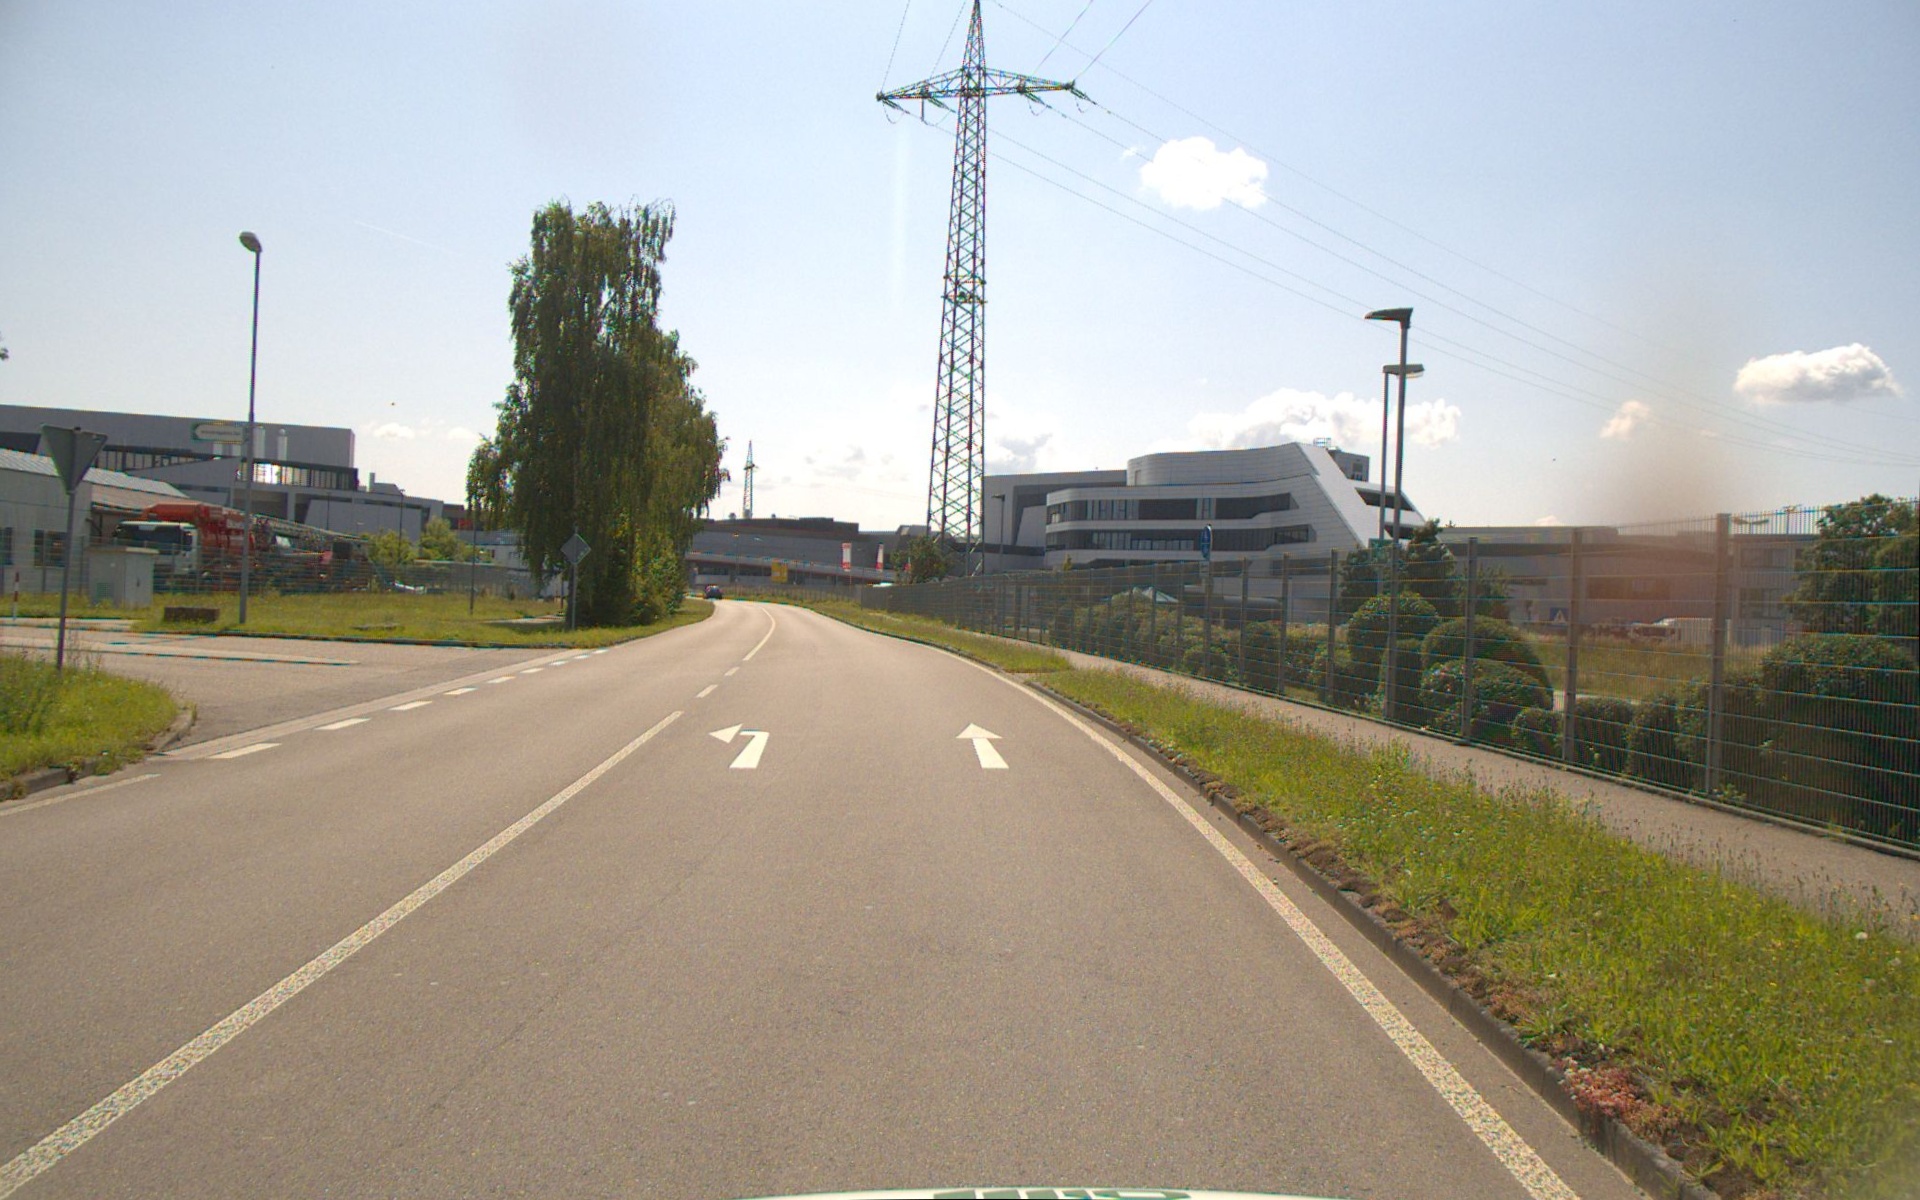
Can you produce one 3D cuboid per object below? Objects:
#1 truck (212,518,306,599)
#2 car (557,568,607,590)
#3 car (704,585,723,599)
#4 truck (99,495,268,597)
[{"bbox_3d":[-32.486,-1.876,76.867,2.388,3.512,5.435,3,0,-6],"label":"truck"},{"bbox_3d":[-32.081,-1.777,140.429,3.913,1.601,1.996,3,0,-8],"label":"car"},{"bbox_3d":[-28.572,-0.926,191.839,1.976,1.534,3.990,3,0,-11],"label":"car"},{"bbox_3d":[-30.783,-2.044,66.146,2.700,3.620,10.254,3,0,-6],"label":"truck"}]
